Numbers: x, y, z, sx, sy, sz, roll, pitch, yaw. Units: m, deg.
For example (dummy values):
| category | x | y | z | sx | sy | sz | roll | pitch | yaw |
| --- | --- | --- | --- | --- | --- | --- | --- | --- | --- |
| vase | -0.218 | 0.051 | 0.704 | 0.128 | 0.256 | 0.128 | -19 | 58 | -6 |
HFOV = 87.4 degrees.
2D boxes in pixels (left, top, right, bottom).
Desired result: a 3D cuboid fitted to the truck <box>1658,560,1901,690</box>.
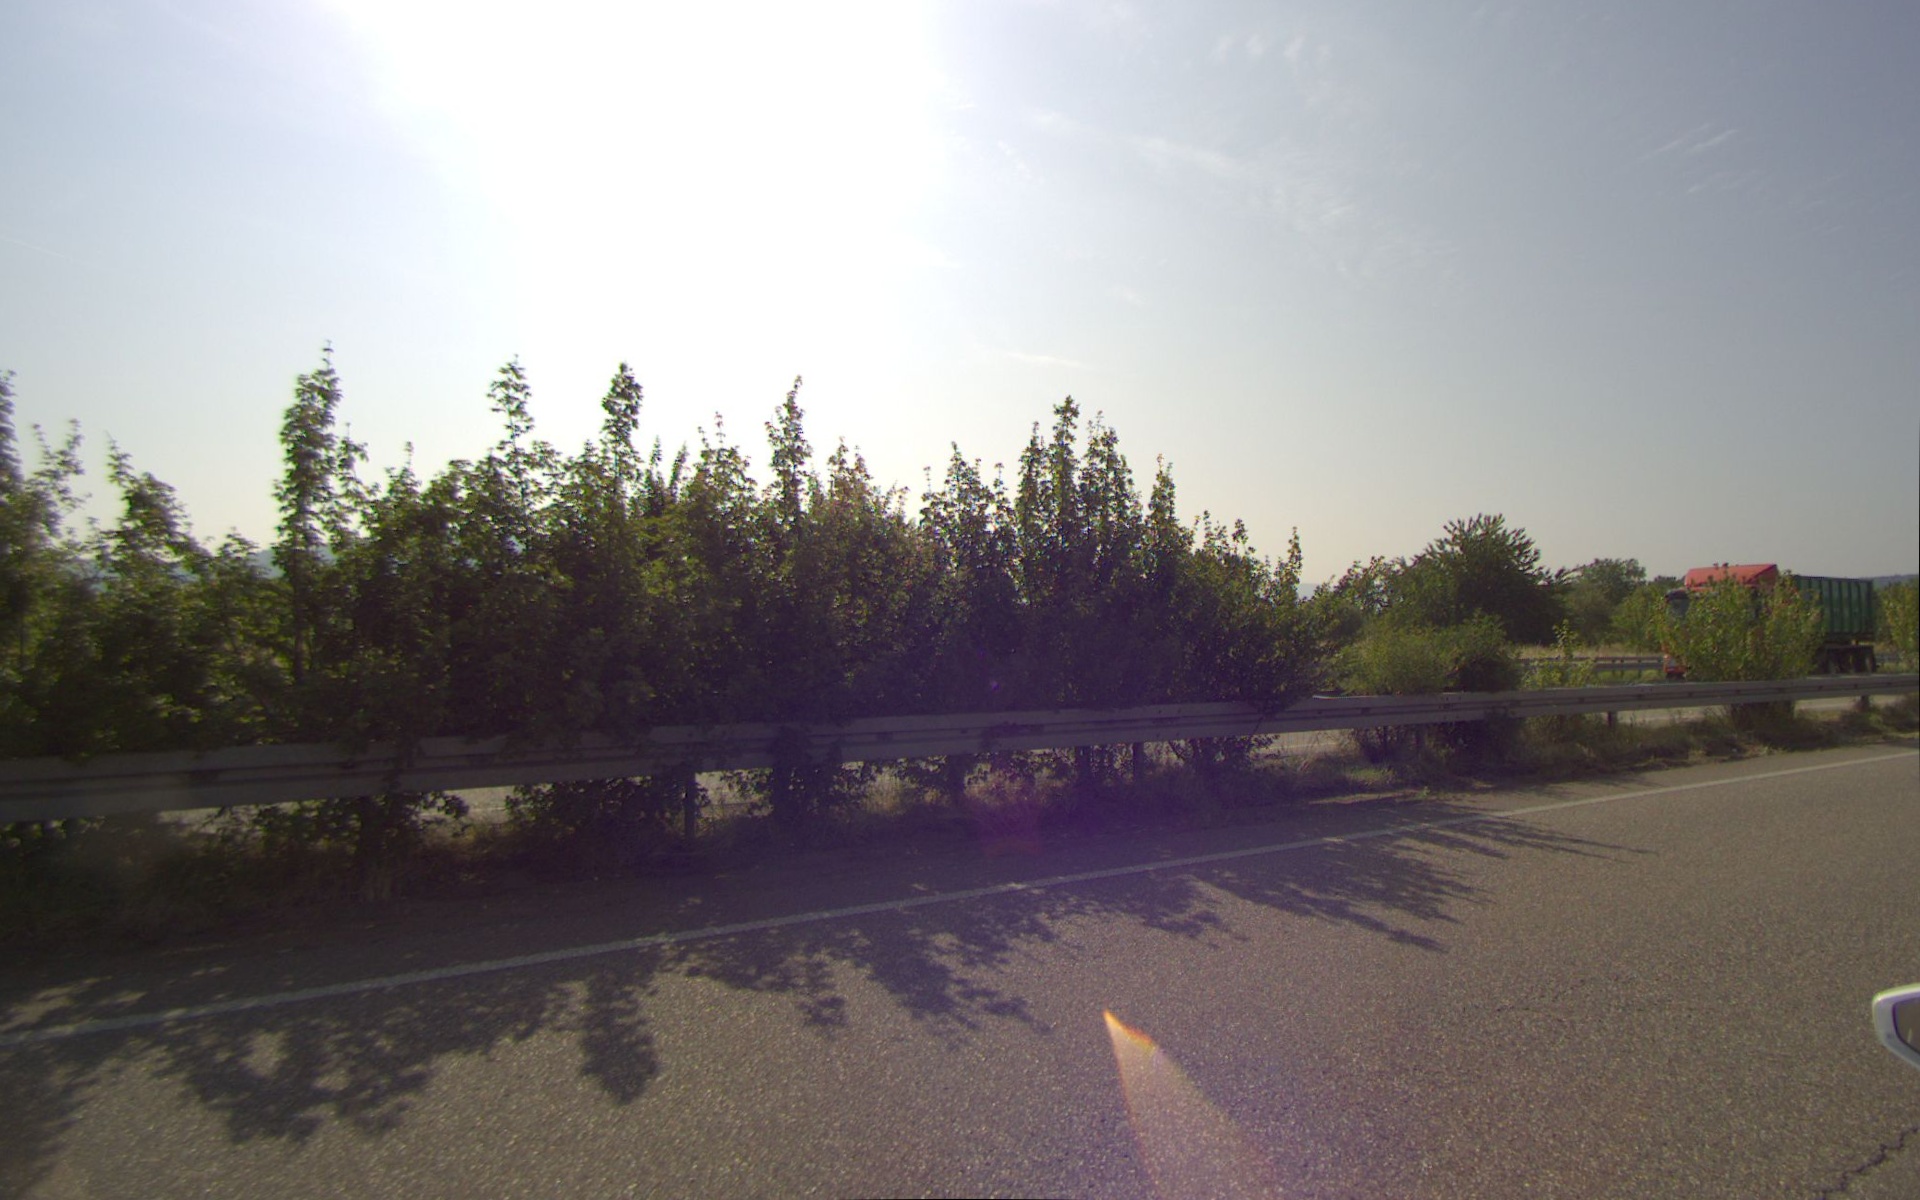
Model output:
| category | x | y | z | sx | sy | sz | roll | pitch | yaw |
| --- | --- | --- | --- | --- | --- | --- | --- | --- | --- |
| truck | 26.087 | 0.837 | 31.767 | 10.264 | 3.636 | 2.590 | 2 | -1 | -31 |
